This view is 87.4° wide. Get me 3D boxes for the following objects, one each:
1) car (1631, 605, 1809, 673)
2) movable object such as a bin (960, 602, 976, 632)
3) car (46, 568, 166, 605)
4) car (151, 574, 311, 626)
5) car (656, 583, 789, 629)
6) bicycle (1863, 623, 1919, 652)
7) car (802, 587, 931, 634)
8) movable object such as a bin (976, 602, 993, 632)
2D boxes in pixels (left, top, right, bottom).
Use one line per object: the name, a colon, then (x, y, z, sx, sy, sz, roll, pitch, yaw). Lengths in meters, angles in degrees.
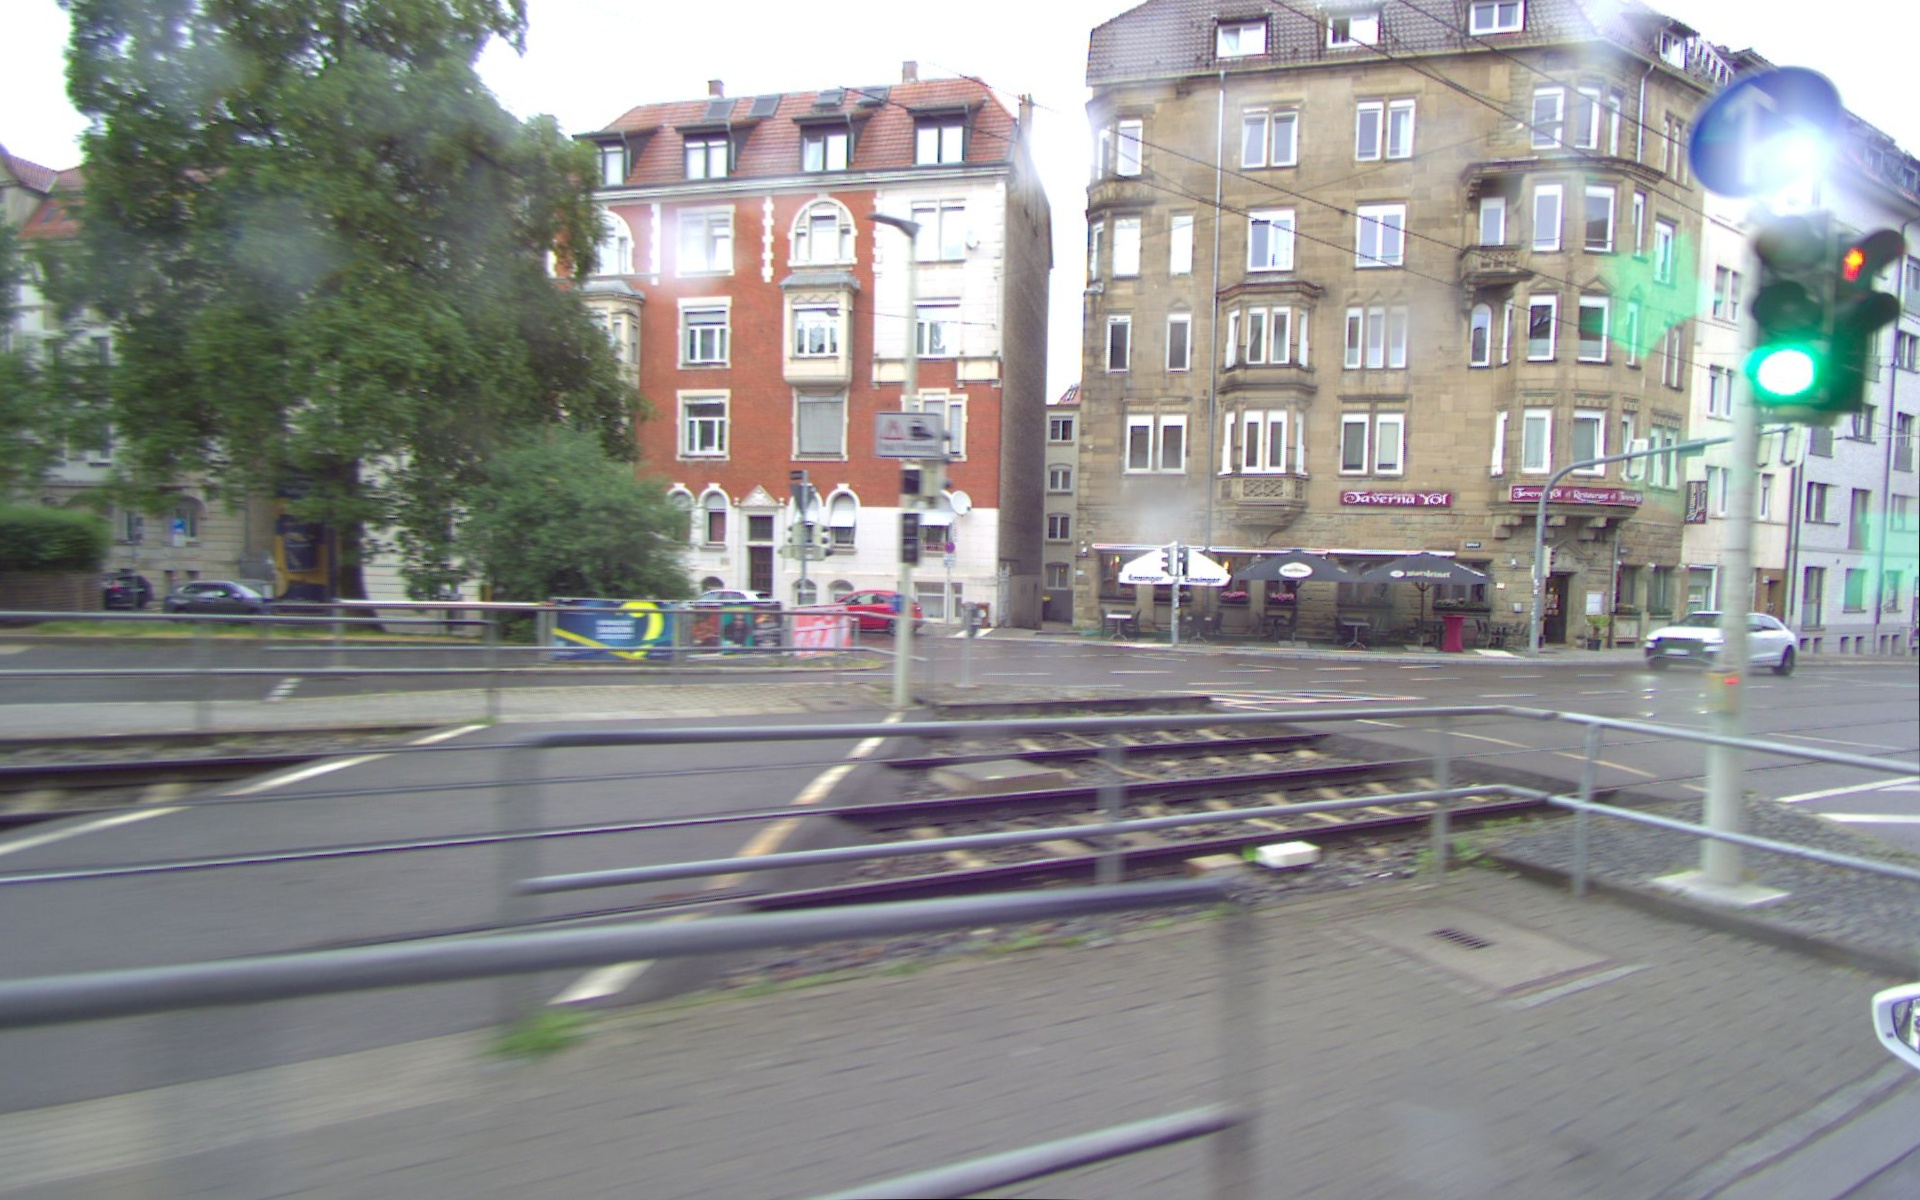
car: (20.617, 1.036, 27.194, 5.191, 1.649, 1.984, 2, 0, -30)
movable object such as a bin: (0.295, 0.594, 36.070, 0.540, 1.056, 0.722, 2, 0, 1)
car: (-35.458, -0.546, 41.729, 3.919, 1.421, 1.743, 2, 0, 12)
car: (-22.133, 0.010, 30.557, 3.919, 1.421, 1.743, 2, 0, 12)
car: (-8.183, 0.198, 34.768, 4.083, 1.421, 1.743, 2, 0, 12)
bicycle: (56.654, 2.238, 60.536, 1.585, 1.606, 3.118, -1, 2, -41)
car: (-3.115, 0.339, 33.677, 3.919, 1.421, 1.743, 2, 0, 12)
movable object such as a bin: (0.880, 0.619, 36.202, 0.540, 1.056, 0.722, 2, 0, 1)
